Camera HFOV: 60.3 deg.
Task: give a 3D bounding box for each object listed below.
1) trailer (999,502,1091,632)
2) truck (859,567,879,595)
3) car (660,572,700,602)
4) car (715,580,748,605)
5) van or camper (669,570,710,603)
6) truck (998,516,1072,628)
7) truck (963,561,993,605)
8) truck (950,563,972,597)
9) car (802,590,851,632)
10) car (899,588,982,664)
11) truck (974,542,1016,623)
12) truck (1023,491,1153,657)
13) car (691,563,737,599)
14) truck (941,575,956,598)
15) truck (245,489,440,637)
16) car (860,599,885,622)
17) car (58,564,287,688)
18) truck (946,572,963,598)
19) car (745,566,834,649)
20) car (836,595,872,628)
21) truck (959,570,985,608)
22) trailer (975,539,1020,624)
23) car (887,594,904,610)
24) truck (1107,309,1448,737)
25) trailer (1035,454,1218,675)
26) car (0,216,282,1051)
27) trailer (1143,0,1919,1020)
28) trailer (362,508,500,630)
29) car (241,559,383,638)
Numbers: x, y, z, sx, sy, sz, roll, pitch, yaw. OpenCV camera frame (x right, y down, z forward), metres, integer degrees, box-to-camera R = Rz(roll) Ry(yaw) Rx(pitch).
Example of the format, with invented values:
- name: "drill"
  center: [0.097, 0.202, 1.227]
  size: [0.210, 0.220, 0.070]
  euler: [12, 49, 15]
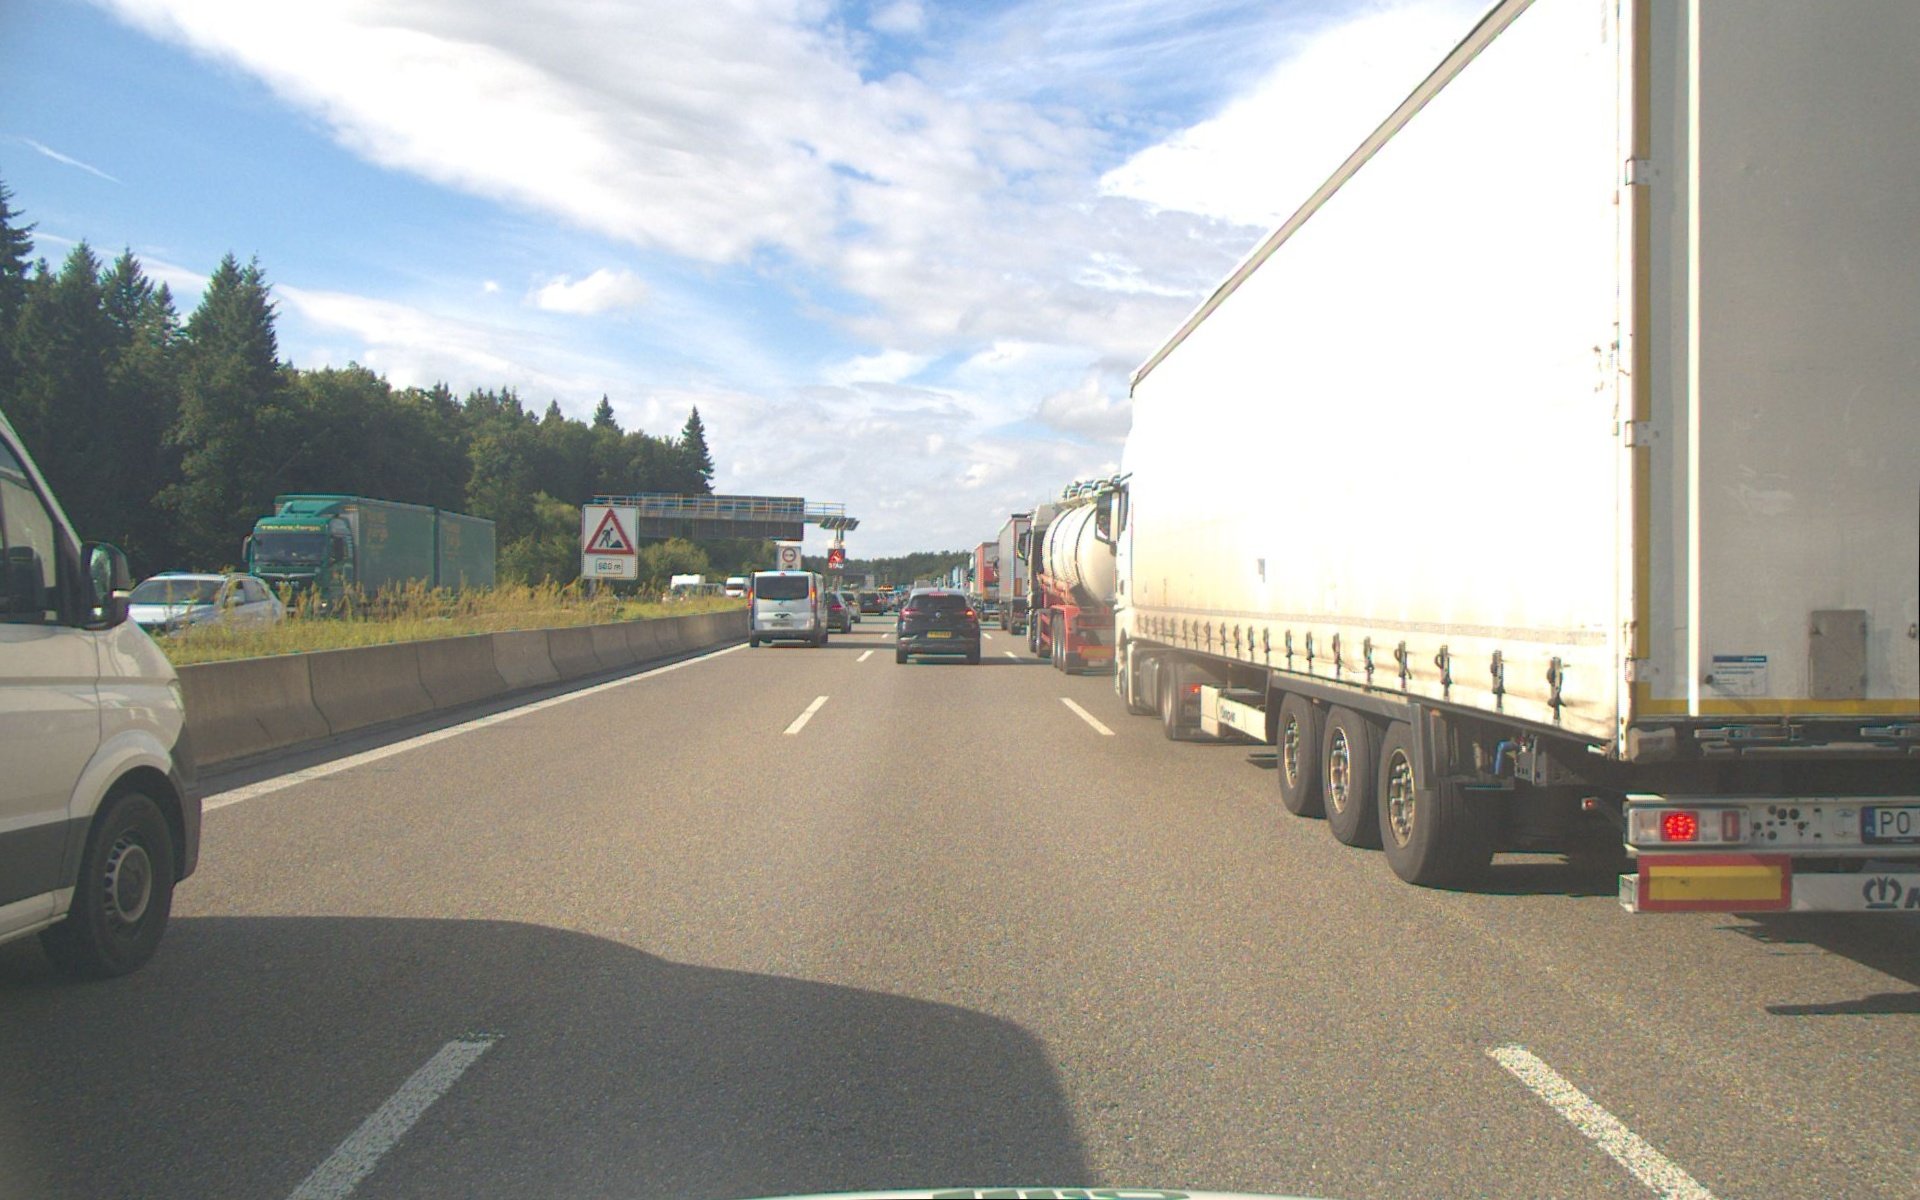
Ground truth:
- name: "trailer"
  center: [2.965, -1.096, 60.479]
  size: [2.745, 4.318, 11.055]
  euler: [0, 0, 0]
- name: "truck"
  center: [-12.368, -2.580, 225.321]
  size: [2.297, 3.656, 6.304]
  euler: [4, 0, -1]
- name: "car"
  center: [-20.773, -0.950, 122.730]
  size: [2.194, 2.093, 5.081]
  euler: [1, 0, -2]
- name: "car"
  center: [-22.355, -0.687, 162.058]
  size: [2.269, 2.231, 6.861]
  euler: [4, 0, -2]
- name: "van or camper"
  center: [-20.921, -0.990, 128.111]
  size: [2.409, 2.456, 5.850]
  euler: [1, 0, -2]
- name: "truck"
  center: [2.962, -1.085, 66.983]
  size: [2.729, 4.321, 6.459]
  euler: [0, 0, 0]
- name: "truck"
  center: [1.265, -1.178, 118.944]
  size: [1.953, 2.982, 4.981]
  euler: [4, 0, 0]
- name: "truck"
  center: [0.060, -1.940, 163.467]
  size: [1.953, 3.105, 4.981]
  euler: [4, 0, 0]
- name: "car"
  center: [-4.683, 0.378, 58.233]
  size: [1.469, 1.420, 3.475]
  euler: [2, 0, -1]
- name: "car"
  center: [-0.433, 0.522, 35.446]
  size: [1.662, 1.509, 4.159]
  euler: [1, 0, -1]
- name: "truck"
  center: [1.919, -0.945, 92.197]
  size: [2.090, 4.356, 6.337]
  euler: [1, 0, 0]
- name: "truck"
  center: [2.963, -0.568, 39.901]
  size: [2.482, 3.646, 6.728]
  euler: [0, 0, -1]
- name: "car"
  center: [-12.186, -0.917, 82.125]
  size: [1.635, 1.609, 3.999]
  euler: [4, 0, -1]
- name: "truck"
  center: [-1.652, -1.877, 234.971]
  size: [1.953, 3.105, 4.981]
  euler: [4, 0, 0]
- name: "truck"
  center: [-19.658, -1.083, 53.478]
  size: [2.656, 4.318, 10.340]
  euler: [0, 0, -2]
- name: "car"
  center: [-5.522, 0.670, 104.391]
  size: [1.406, 1.333, 3.532]
  euler: [4, 0, -1]
- name: "car"
  center: [-11.971, 0.373, 25.411]
  size: [1.637, 1.652, 3.766]
  euler: [4, 0, -1]
- name: "truck"
  center: [-0.651, -1.912, 207.953]
  size: [1.953, 3.105, 4.981]
  euler: [4, 0, 0]
- name: "car"
  center: [-4.605, 0.199, 45.317]
  size: [1.894, 2.013, 5.097]
  euler: [4, 0, -1]
- name: "car"
  center: [-4.978, 0.531, 78.131]
  size: [1.470, 1.420, 3.475]
  euler: [4, 0, -1]
- name: "truck"
  center: [0.976, -0.900, 137.739]
  size: [1.953, 2.982, 4.981]
  euler: [4, 0, 0]
- name: "trailer"
  center: [1.946, -0.932, 88.188]
  size: [2.106, 4.333, 8.439]
  euler: [1, 0, 0]
- name: "car"
  center: [-5.685, 0.153, 146.122]
  size: [1.333, 1.323, 3.084]
  euler: [4, 0, -1]
- name: "truck"
  center: [3.360, -0.740, 19.173]
  size: [2.653, 4.131, 6.360]
  euler: [0, 0, -1]
- name: "trailer"
  center: [3.056, -0.584, 33.290]
  size: [2.489, 3.718, 10.624]
  euler: [0, 0, -1]
- name: "car"
  center: [-4.020, 0.115, 4.346]
  size: [1.974, 2.644, 6.181]
  euler: [0, 1, 0]
- name: "trailer"
  center: [3.470, -0.693, 12.097]
  size: [2.648, 4.153, 12.942]
  euler: [0, 0, -1]
- name: "trailer"
  center: [-19.944, -1.103, 62.921]
  size: [2.670, 4.318, 8.549]
  euler: [0, 0, -2]
- name: "car"
  center: [-14.898, -0.041, 38.255]
  size: [1.791, 1.713, 3.809]
  euler: [1, 0, -1]
